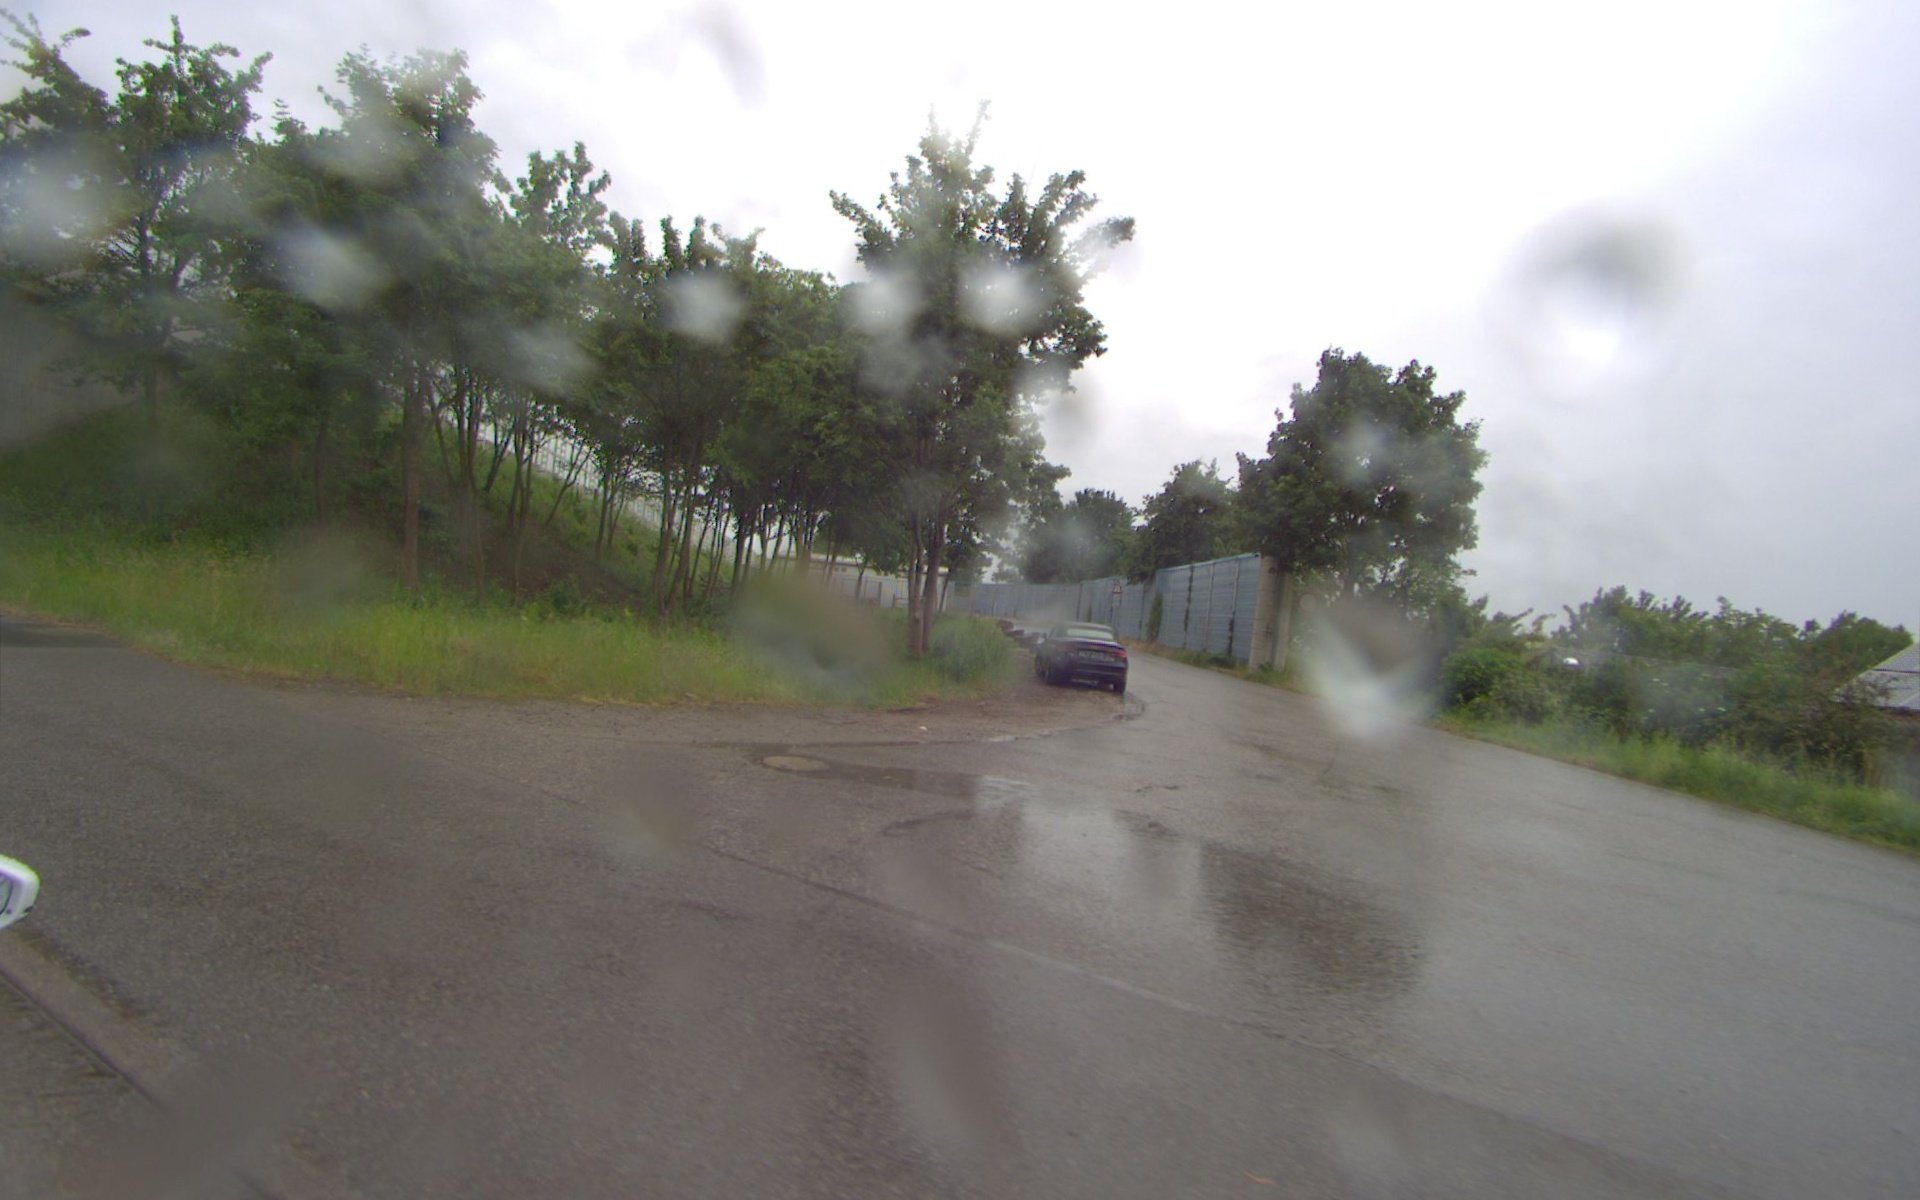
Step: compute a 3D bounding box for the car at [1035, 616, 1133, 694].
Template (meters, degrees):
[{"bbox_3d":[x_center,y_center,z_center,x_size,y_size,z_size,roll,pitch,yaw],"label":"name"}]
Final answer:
[{"bbox_3d":[2.749,1.248,22.780,1.869,1.374,4.117,7,-2,6],"label":"car"}]
